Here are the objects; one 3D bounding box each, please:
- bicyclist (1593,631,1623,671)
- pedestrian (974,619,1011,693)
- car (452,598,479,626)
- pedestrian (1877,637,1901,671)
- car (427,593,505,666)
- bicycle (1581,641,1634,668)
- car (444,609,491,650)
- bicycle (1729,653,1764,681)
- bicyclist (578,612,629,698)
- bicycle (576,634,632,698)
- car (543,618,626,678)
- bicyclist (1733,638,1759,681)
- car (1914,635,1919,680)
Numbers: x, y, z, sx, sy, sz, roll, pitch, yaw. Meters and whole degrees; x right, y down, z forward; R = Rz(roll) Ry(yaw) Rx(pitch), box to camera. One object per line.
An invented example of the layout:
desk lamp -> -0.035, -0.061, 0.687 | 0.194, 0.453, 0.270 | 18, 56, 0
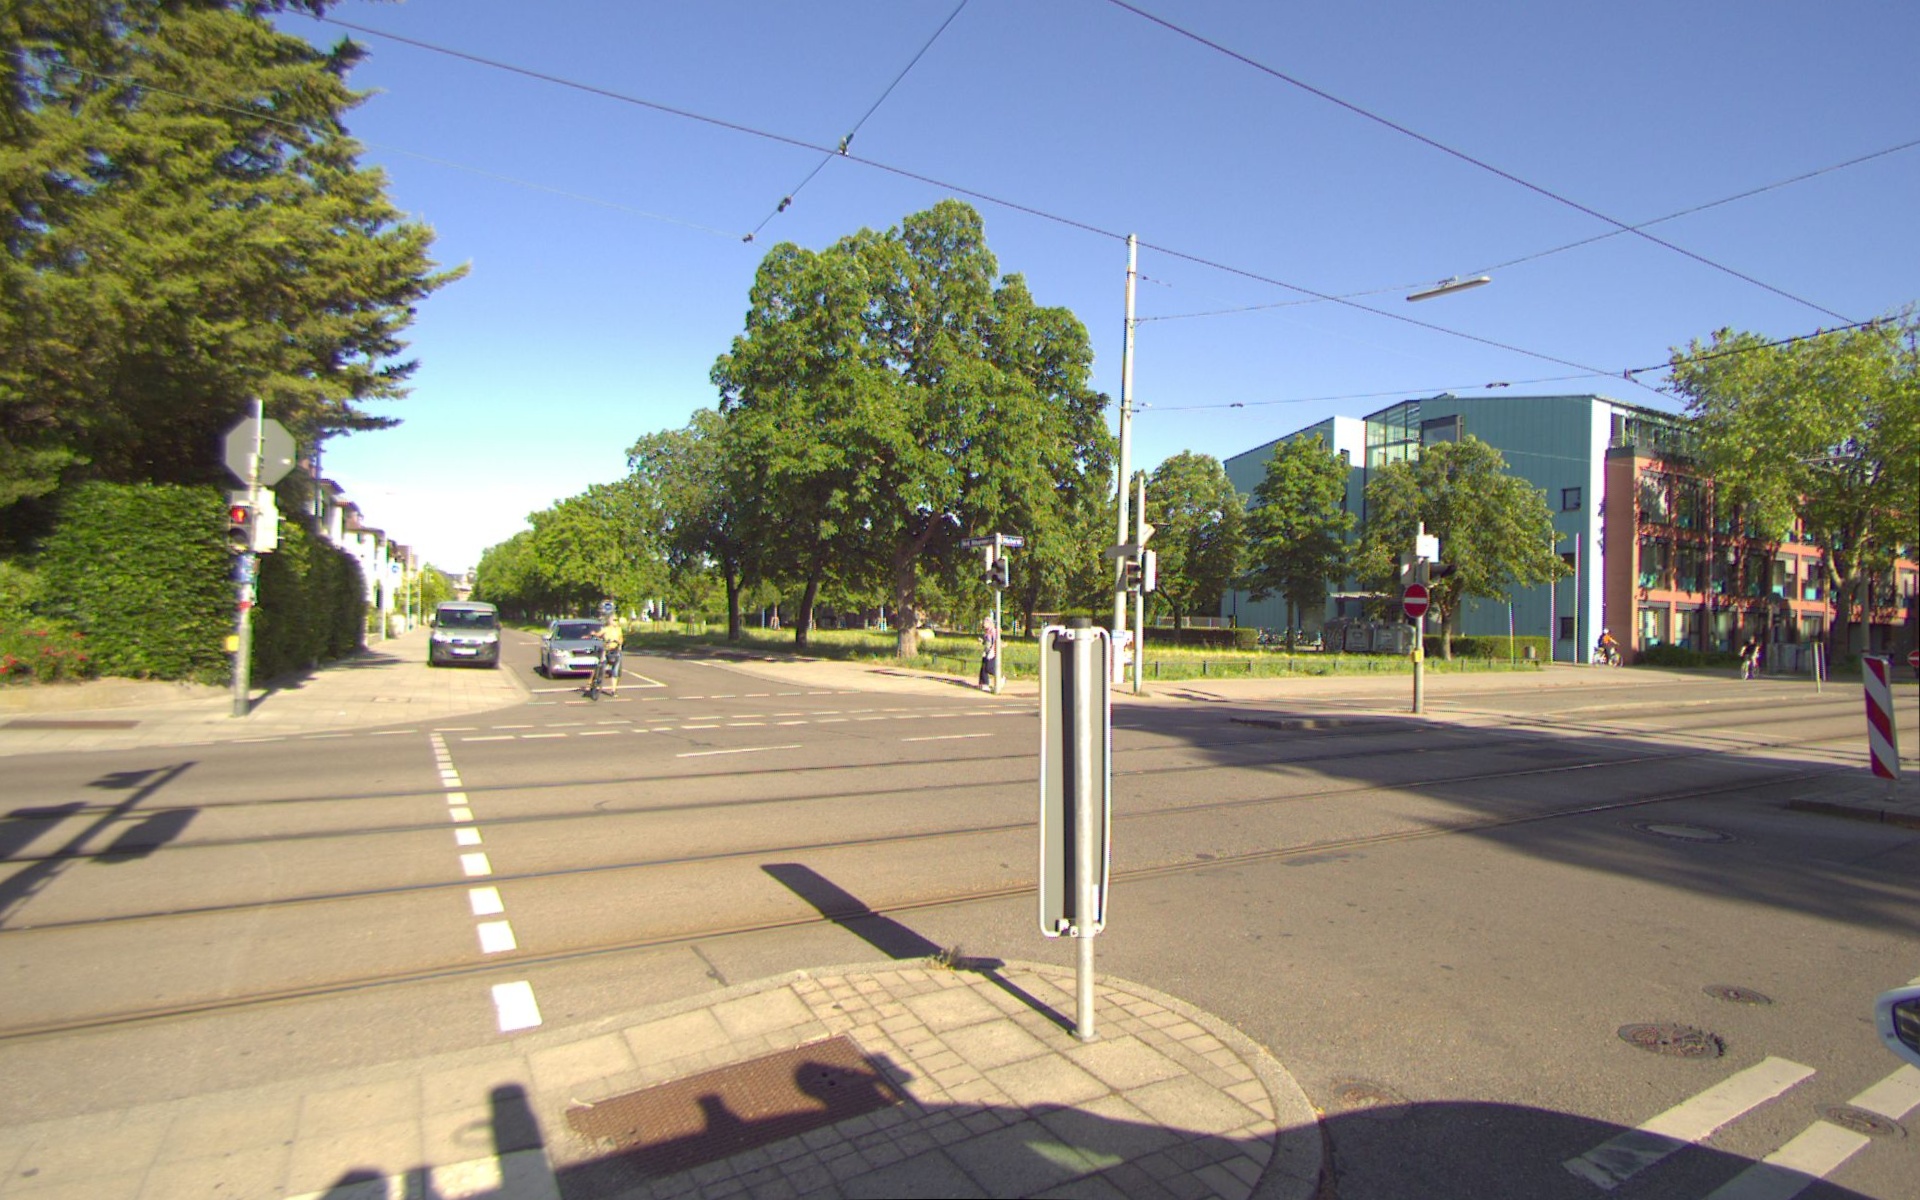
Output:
bicyclist -> 29.106, 2.291, 45.125 | 0.915, 1.715, 0.606 | 2, 1, -5
pedestrian -> 0.721, 1.223, 22.183 | 0.665, 1.577, 0.624 | 2, 1, 12
car -> -38.798, 0.934, 78.787 | 1.793, 2.122, 4.154 | 1, -1, -27
pedestrian -> 56.931, 3.305, 61.558 | 0.774, 2.040, 0.903 | 1, 1, -38
car -> -14.011, 0.820, 28.438 | 1.793, 1.891, 4.285 | 1, -1, -27
bicycle -> 29.097, 2.445, 45.127 | 1.997, 1.144, 0.633 | 2, 1, -5
car -> -22.353, 1.325, 45.545 | 1.793, 1.766, 4.172 | 1, -1, -27
bicycle -> 32.168, 2.730, 41.072 | 1.807, 1.128, 0.583 | 2, -2, -33
bicyclist -> -6.971, 1.061, 19.659 | 0.885, 1.644, 0.557 | 2, -1, -22
bicycle -> -6.950, 1.246, 19.563 | 0.916, 1.132, 2.275 | 2, -1, -22
car -> -9.906, 1.205, 26.315 | 1.791, 1.452, 3.977 | 1, -1, -24
bicyclist -> 32.144, 2.422, 41.077 | 0.892, 1.733, 0.583 | 1, -2, -33
car -> 46.625, 2.653, 46.957 | 5.199, 2.040, 2.006 | 1, -2, -36
